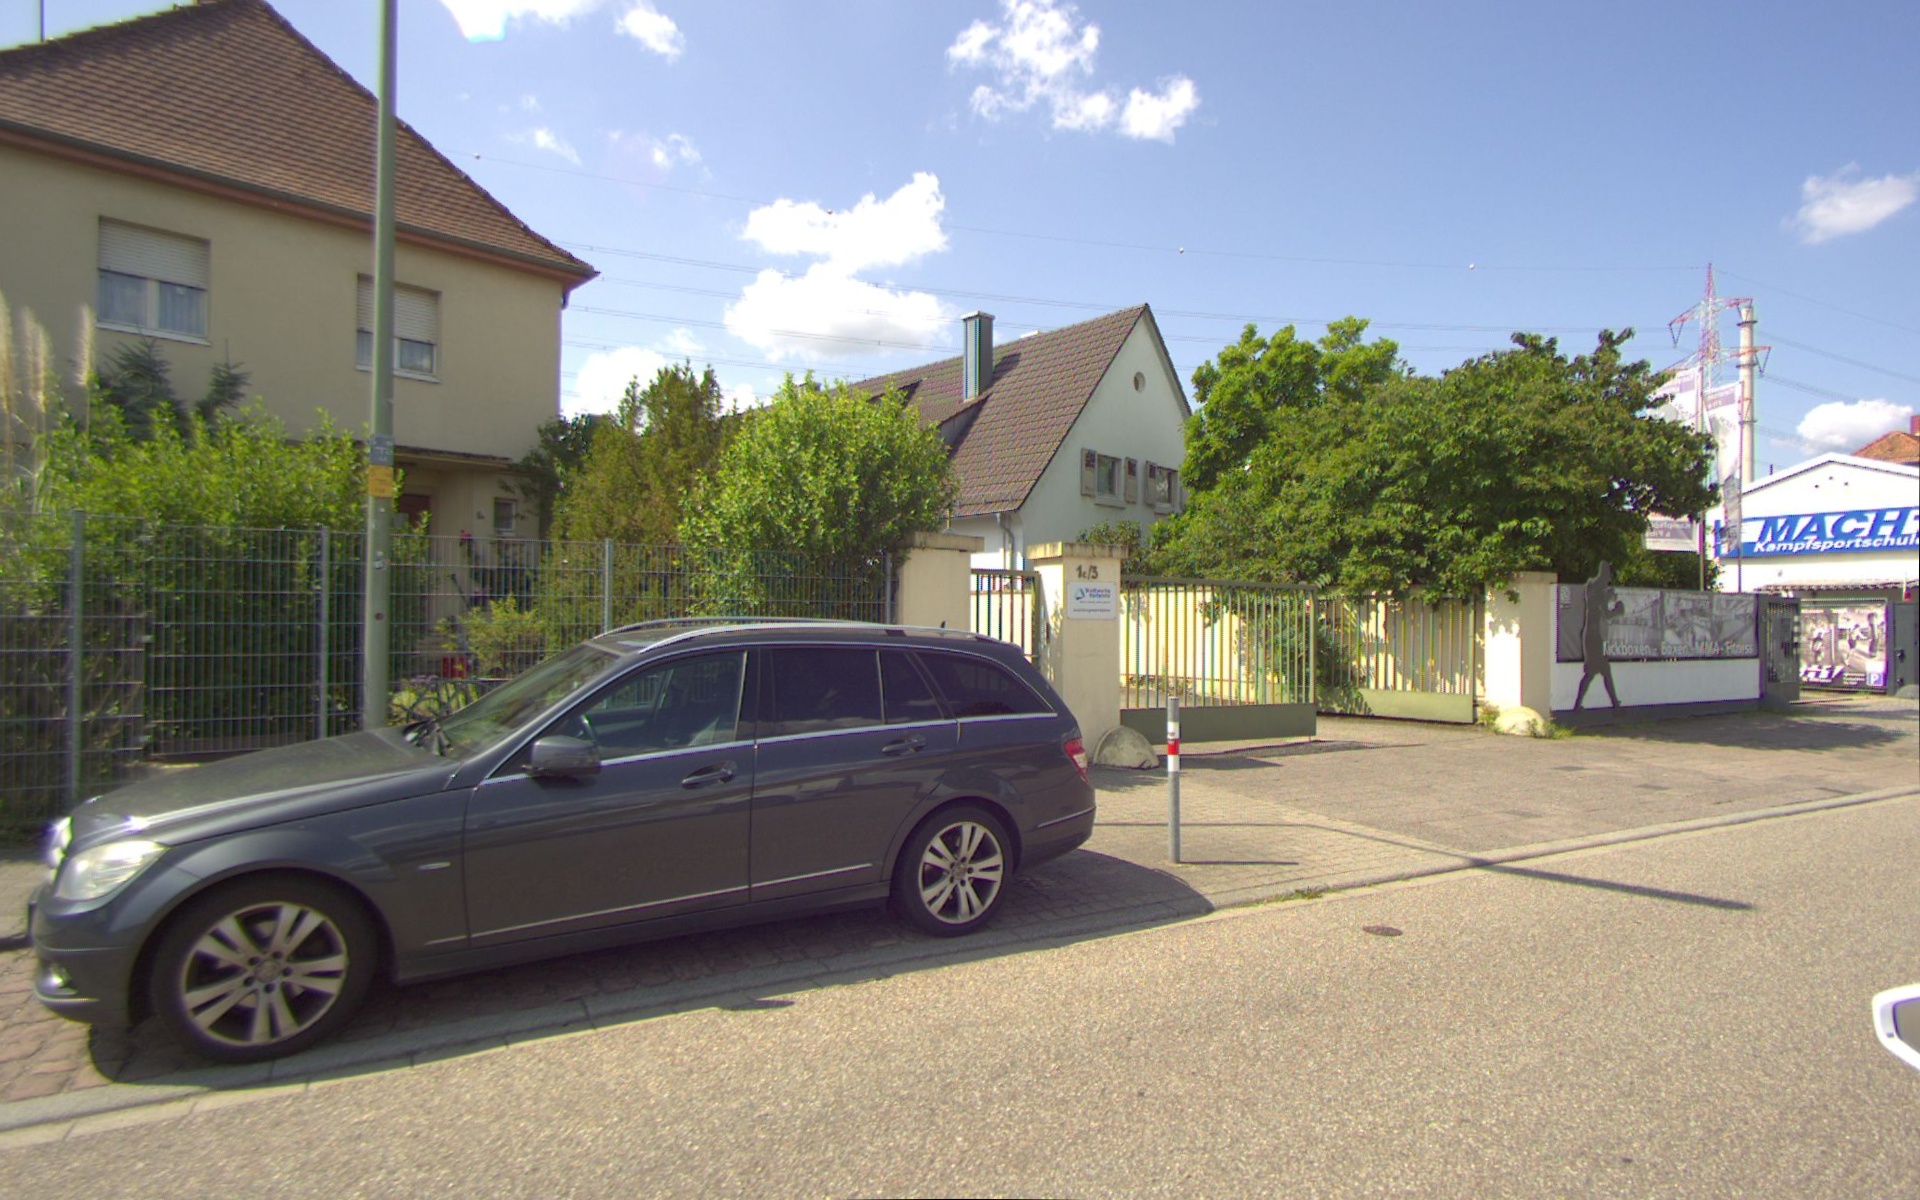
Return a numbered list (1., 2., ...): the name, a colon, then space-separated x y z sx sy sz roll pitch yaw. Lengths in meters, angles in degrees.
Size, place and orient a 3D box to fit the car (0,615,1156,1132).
1. car: -1.351 0.852 4.830 4.445 1.437 1.795 1 1 -31
